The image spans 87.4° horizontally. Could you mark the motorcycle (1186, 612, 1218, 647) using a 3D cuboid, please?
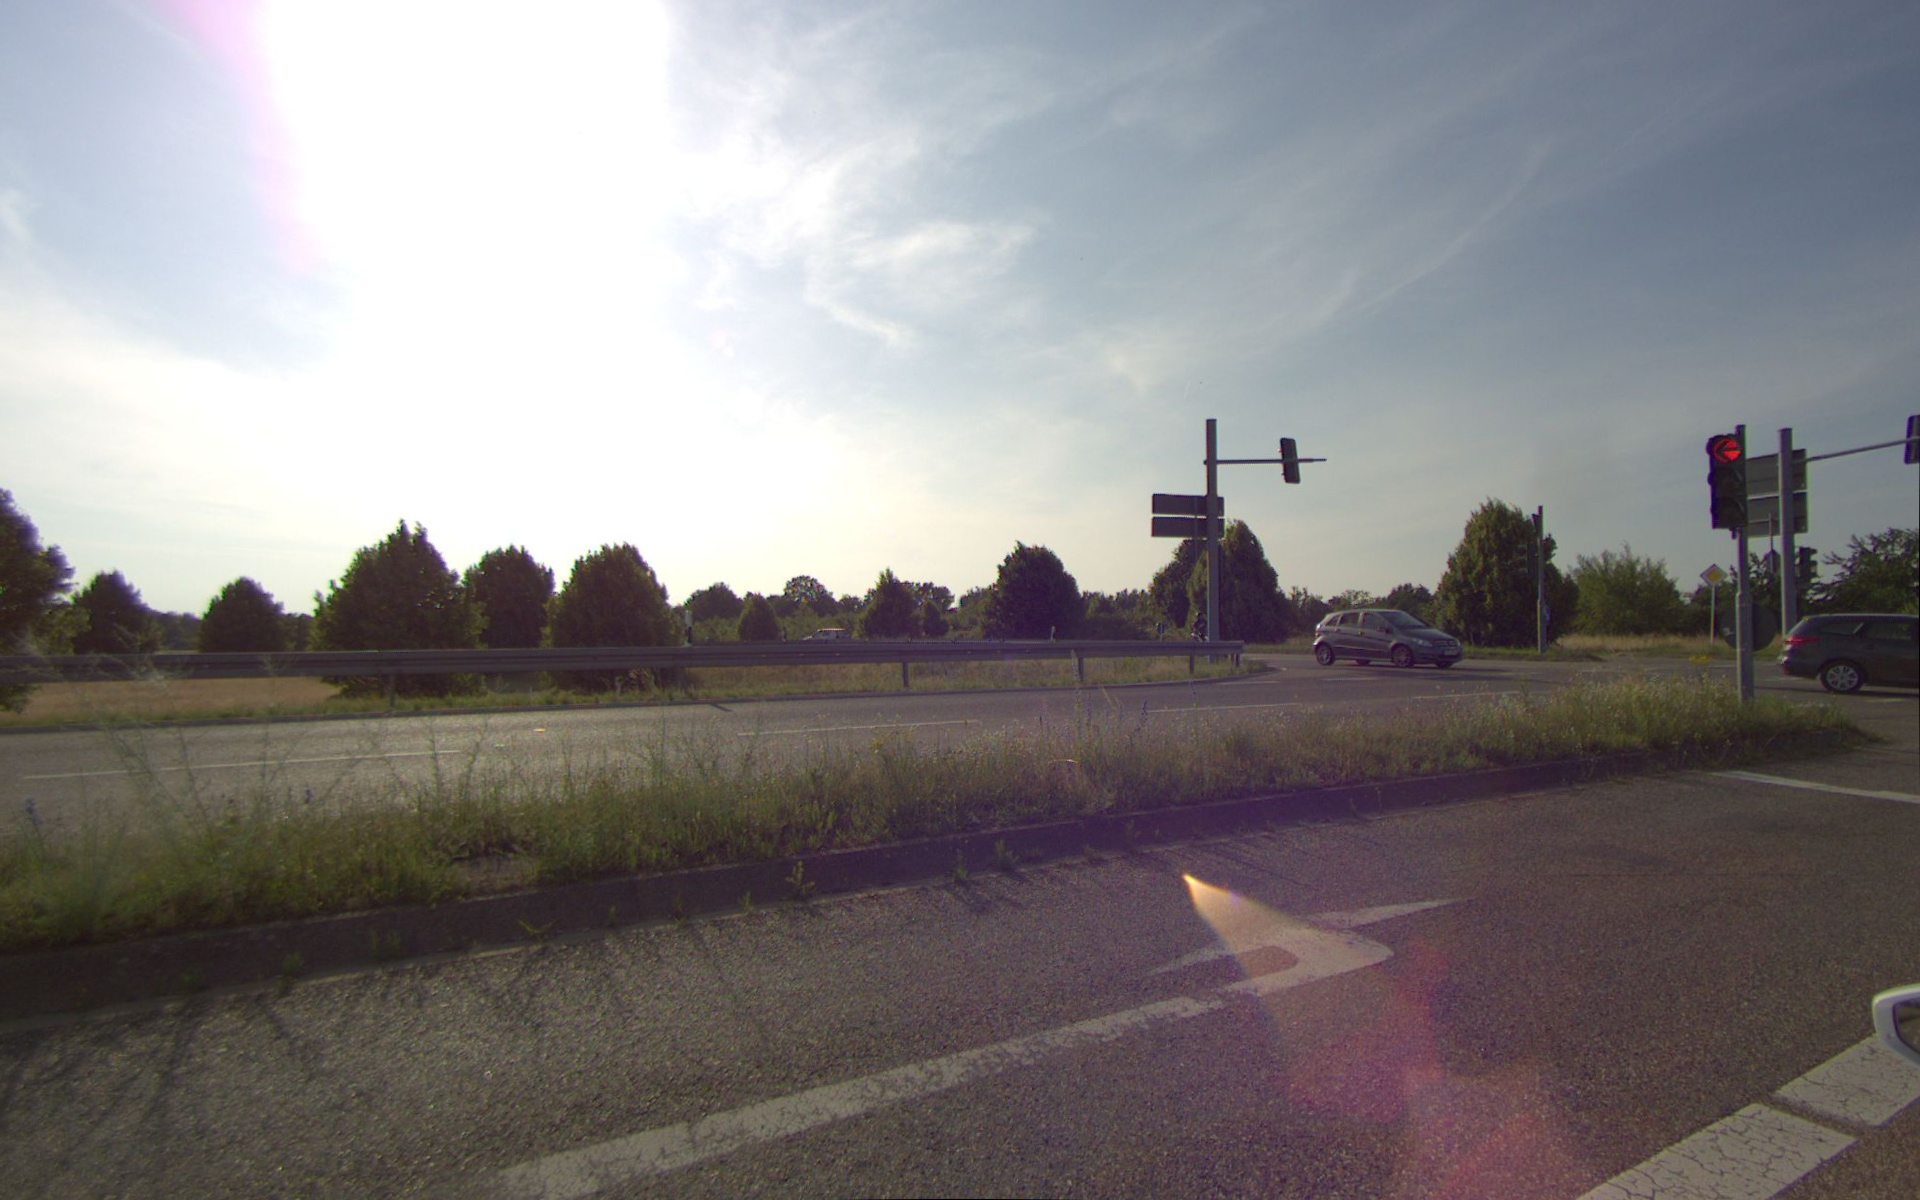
[{"bbox_3d":[8.451,1.010,35.147,0.921,1.139,2.172,1,0,9],"label":"motorcycle"}]

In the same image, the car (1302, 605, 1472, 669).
[{"bbox_3d":[11.786,0.991,28.026,1.768,1.626,4.165,2,-1,-28],"label":"car"}]

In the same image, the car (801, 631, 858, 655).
[{"bbox_3d":[-9.338,3.039,71.769,3.945,1.560,1.988,0,-1,44],"label":"car"}]

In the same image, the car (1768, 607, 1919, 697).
[{"bbox_3d":[17.927,0.967,18.638,4.466,1.586,1.806,1,-1,43],"label":"car"}]

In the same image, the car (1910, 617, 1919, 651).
[{"bbox_3d":[39.493,1.331,39.117,4.595,1.309,1.437,1,-1,-15],"label":"car"}]

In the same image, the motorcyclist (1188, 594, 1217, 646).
[{"bbox_3d":[8.498,0.695,35.227,0.888,1.781,0.832,1,0,9],"label":"motorcyclist"}]
